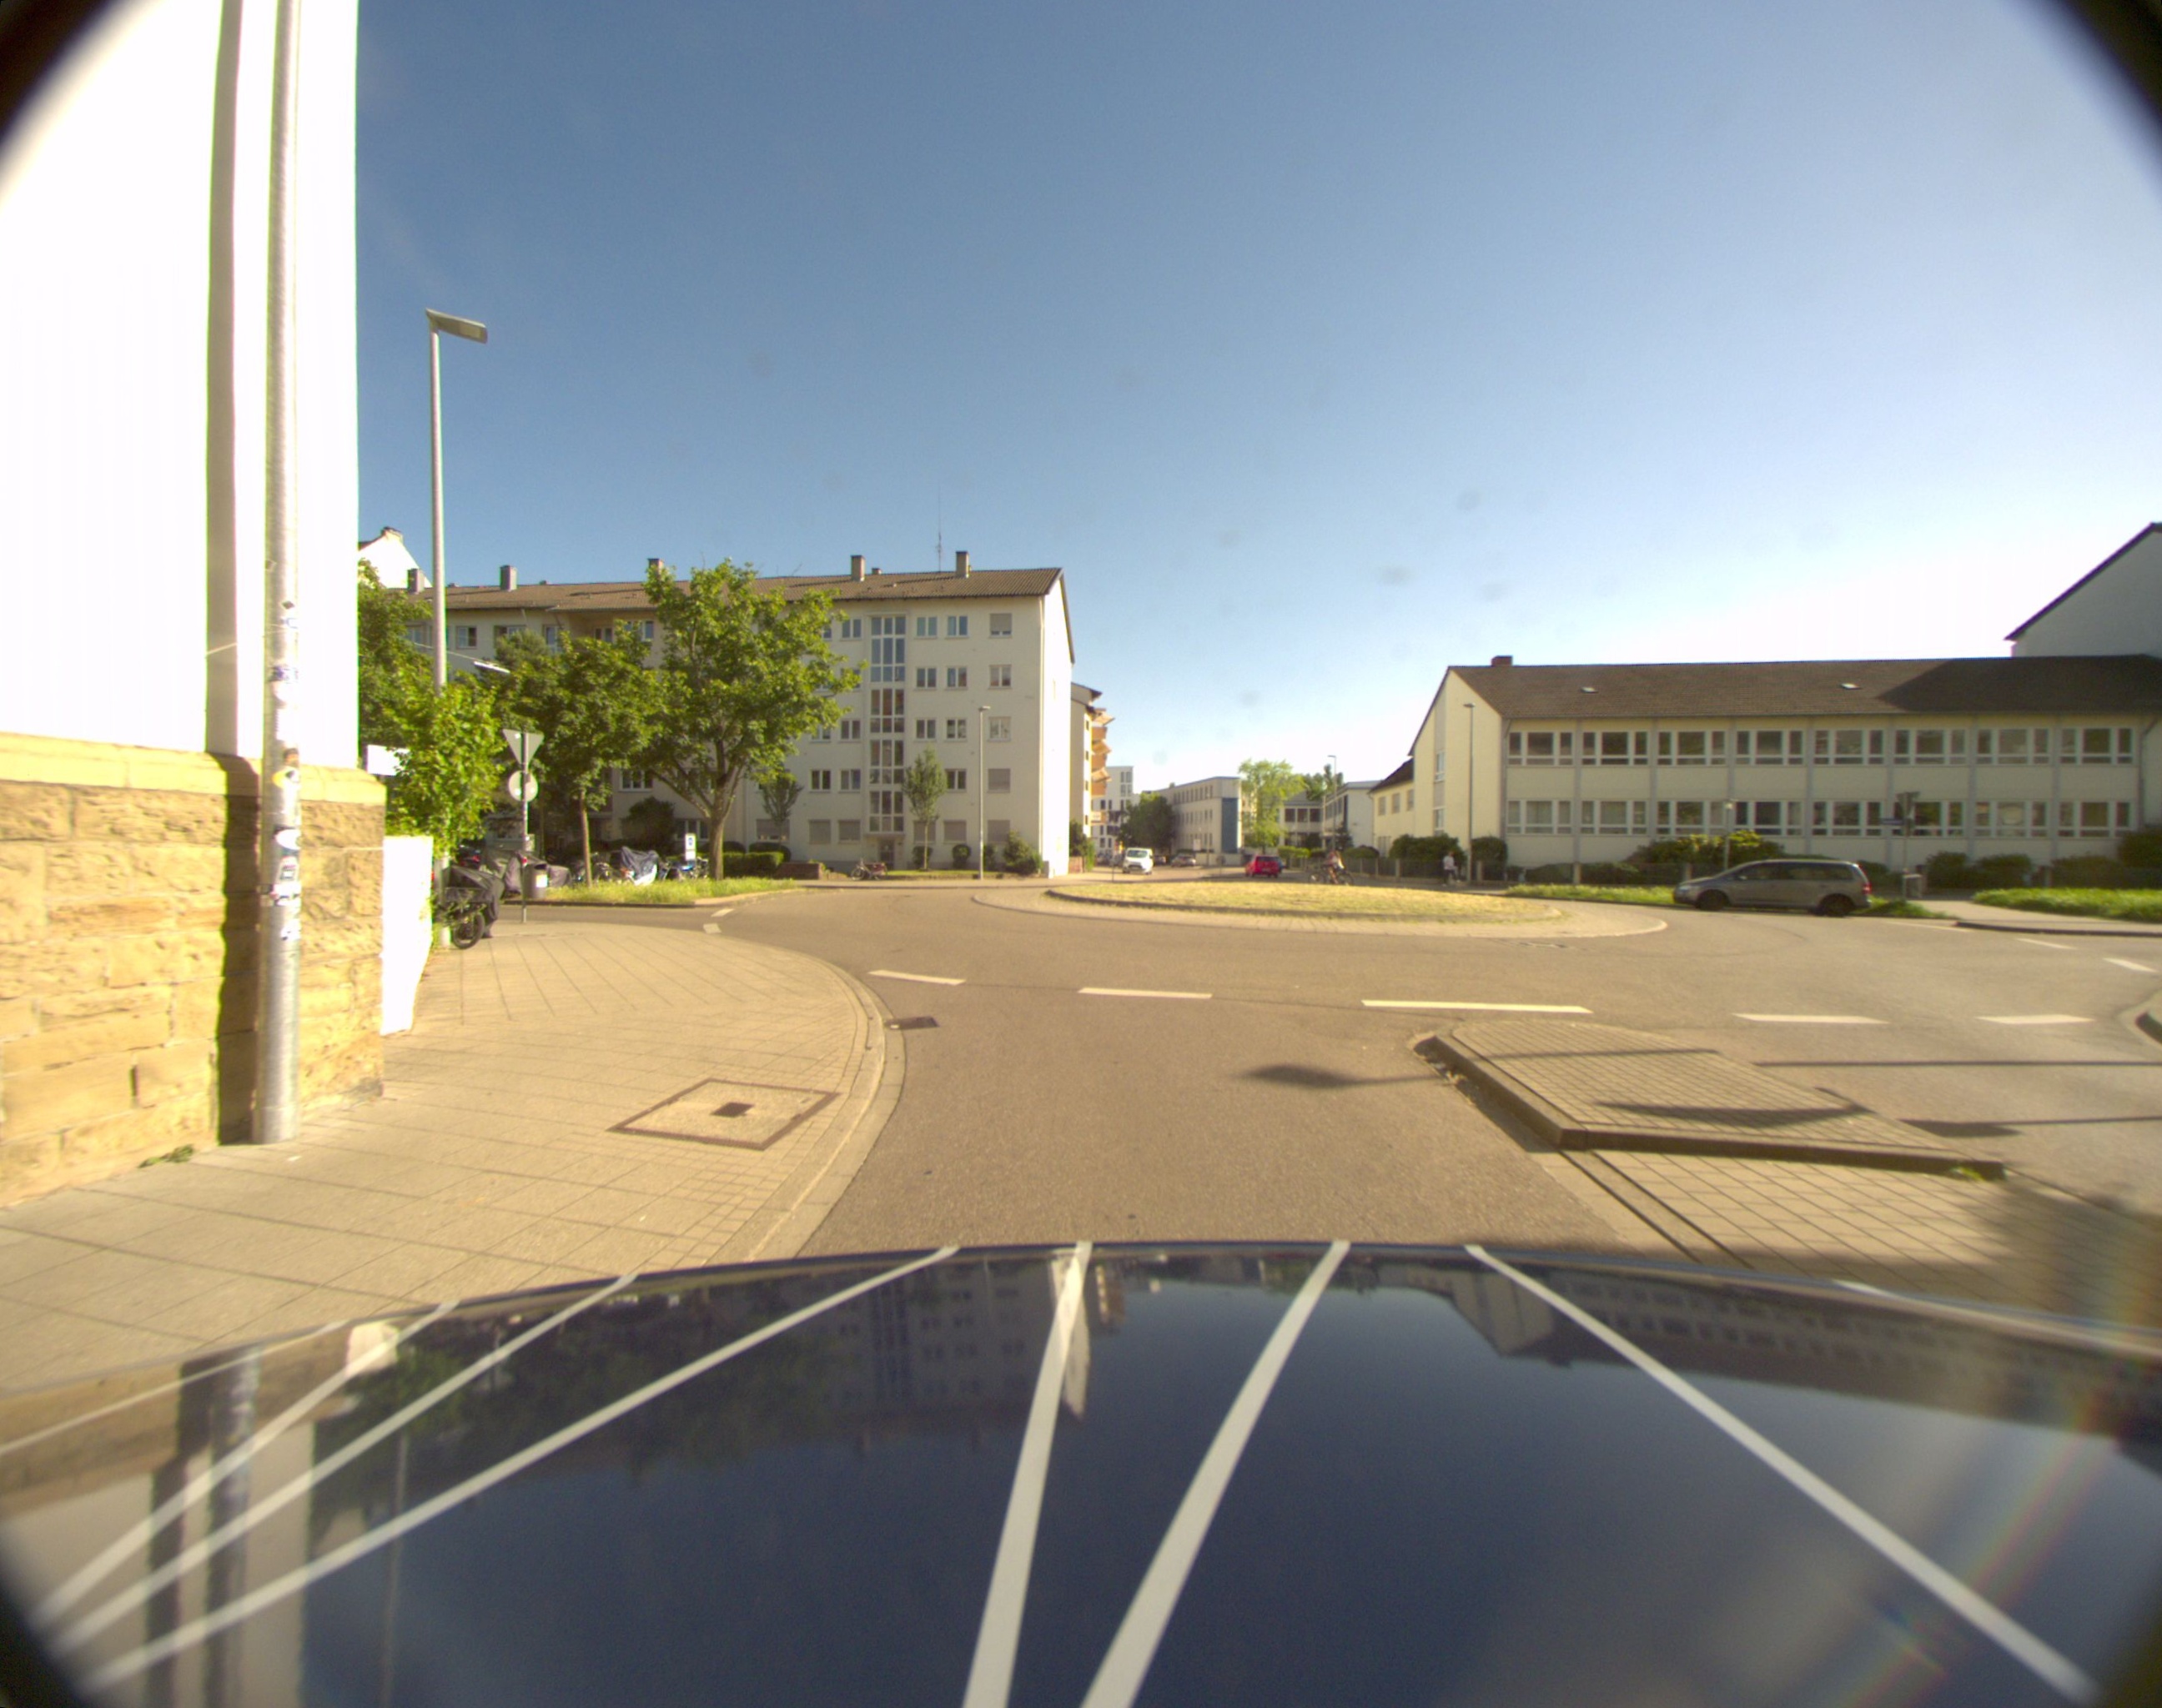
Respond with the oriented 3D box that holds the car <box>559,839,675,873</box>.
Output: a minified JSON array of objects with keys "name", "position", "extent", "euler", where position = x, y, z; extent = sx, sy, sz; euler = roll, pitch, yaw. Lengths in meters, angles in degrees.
[{"name":"car","position":[-20.210,0.093,33.170],"extent":[3.995,1.403,1.834],"euler":[1,0,6]}]

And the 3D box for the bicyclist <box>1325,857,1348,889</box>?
[{"name":"bicyclist","position":[10.712,0.768,31.833],"extent":[0.823,1.304,0.813],"euler":[0,1,26]}]

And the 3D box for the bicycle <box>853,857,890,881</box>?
[{"name":"bicycle","position":[-9.786,0.708,35.499],"extent":[1.624,1.073,0.384],"euler":[1,3,0]}]

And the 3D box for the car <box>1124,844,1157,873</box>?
[{"name":"car","position":[4.636,0.329,58.451],"extent":[1.997,2.002,4.800],"euler":[4,1,9]}]

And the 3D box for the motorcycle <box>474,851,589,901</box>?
[{"name":"motorcycle","position":[-14.996,0.555,20.874],"extent":[1.126,1.260,2.784],"euler":[1,1,1]}]

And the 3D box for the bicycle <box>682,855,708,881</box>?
[{"name":"bicycle","position":[-17.316,0.607,34.128],"extent":[0.330,1.051,1.450],"euler":[1,3,4]}]

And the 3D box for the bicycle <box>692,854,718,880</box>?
[{"name":"bicycle","position":[-16.844,0.576,34.086],"extent":[0.330,1.051,1.450],"euler":[1,3,4]}]

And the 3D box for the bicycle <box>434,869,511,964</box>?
[{"name":"bicycle","position":[-8.655,0.812,10.775],"extent":[0.768,1.151,2.279],"euler":[-1,1,-40]}]

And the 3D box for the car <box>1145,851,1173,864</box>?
[{"name":"car","position":[10.376,0.428,101.406],"extent":[2.140,1.604,4.829],"euler":[-1,1,-13]}]

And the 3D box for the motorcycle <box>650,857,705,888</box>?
[{"name":"motorcycle","position":[-14.296,0.652,26.983],"extent":[0.813,1.066,1.846],"euler":[1,-1,6]}]

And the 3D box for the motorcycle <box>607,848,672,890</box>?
[{"name":"motorcycle","position":[-14.450,0.468,24.916],"extent":[0.862,1.320,2.054],"euler":[1,1,2]}]

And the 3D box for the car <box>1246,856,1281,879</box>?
[{"name":"car","position":[11.745,0.856,49.124],"extent":[1.715,1.374,4.002],"euler":[2,0,6]}]

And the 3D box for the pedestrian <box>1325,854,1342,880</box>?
[{"name":"pedestrian","position":[16.910,0.876,50.859],"extent":[0.819,1.696,0.997],"euler":[0,1,4]}]

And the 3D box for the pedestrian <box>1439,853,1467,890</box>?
[{"name":"pedestrian","position":[17.553,0.814,35.858],"extent":[0.994,1.696,0.694],"euler":[1,1,42]}]

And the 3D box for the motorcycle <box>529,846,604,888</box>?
[{"name":"motorcycle","position":[-17.836,0.425,26.420],"extent":[1.062,1.384,2.128],"euler":[1,1,4]}]

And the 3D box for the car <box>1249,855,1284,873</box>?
[{"name":"car","position":[15.126,0.811,62.134],"extent":[1.884,1.426,4.414],"euler":[0,0,1]}]

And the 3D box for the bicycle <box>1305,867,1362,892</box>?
[{"name":"bicycle","position":[10.597,1.052,31.901],"extent":[2.204,1.008,0.813],"euler":[0,1,26]}]

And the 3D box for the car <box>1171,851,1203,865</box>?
[{"name":"car","position":[12.714,0.444,91.603],"extent":[2.140,1.604,4.829],"euler":[-1,1,-15]}]

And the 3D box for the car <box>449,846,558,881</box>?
[{"name":"car","position":[-26.136,0.429,34.431],"extent":[3.992,1.476,1.787],"euler":[1,0,14]}]

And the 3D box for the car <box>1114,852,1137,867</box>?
[{"name":"car","position":[4.945,0.555,84.289],"extent":[1.759,1.445,3.997],"euler":[4,0,-7]}]

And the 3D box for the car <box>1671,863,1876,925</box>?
[{"name":"car","position":[20.576,1.127,22.865],"extent":[4.261,1.686,1.885],"euler":[0,0,31]}]
